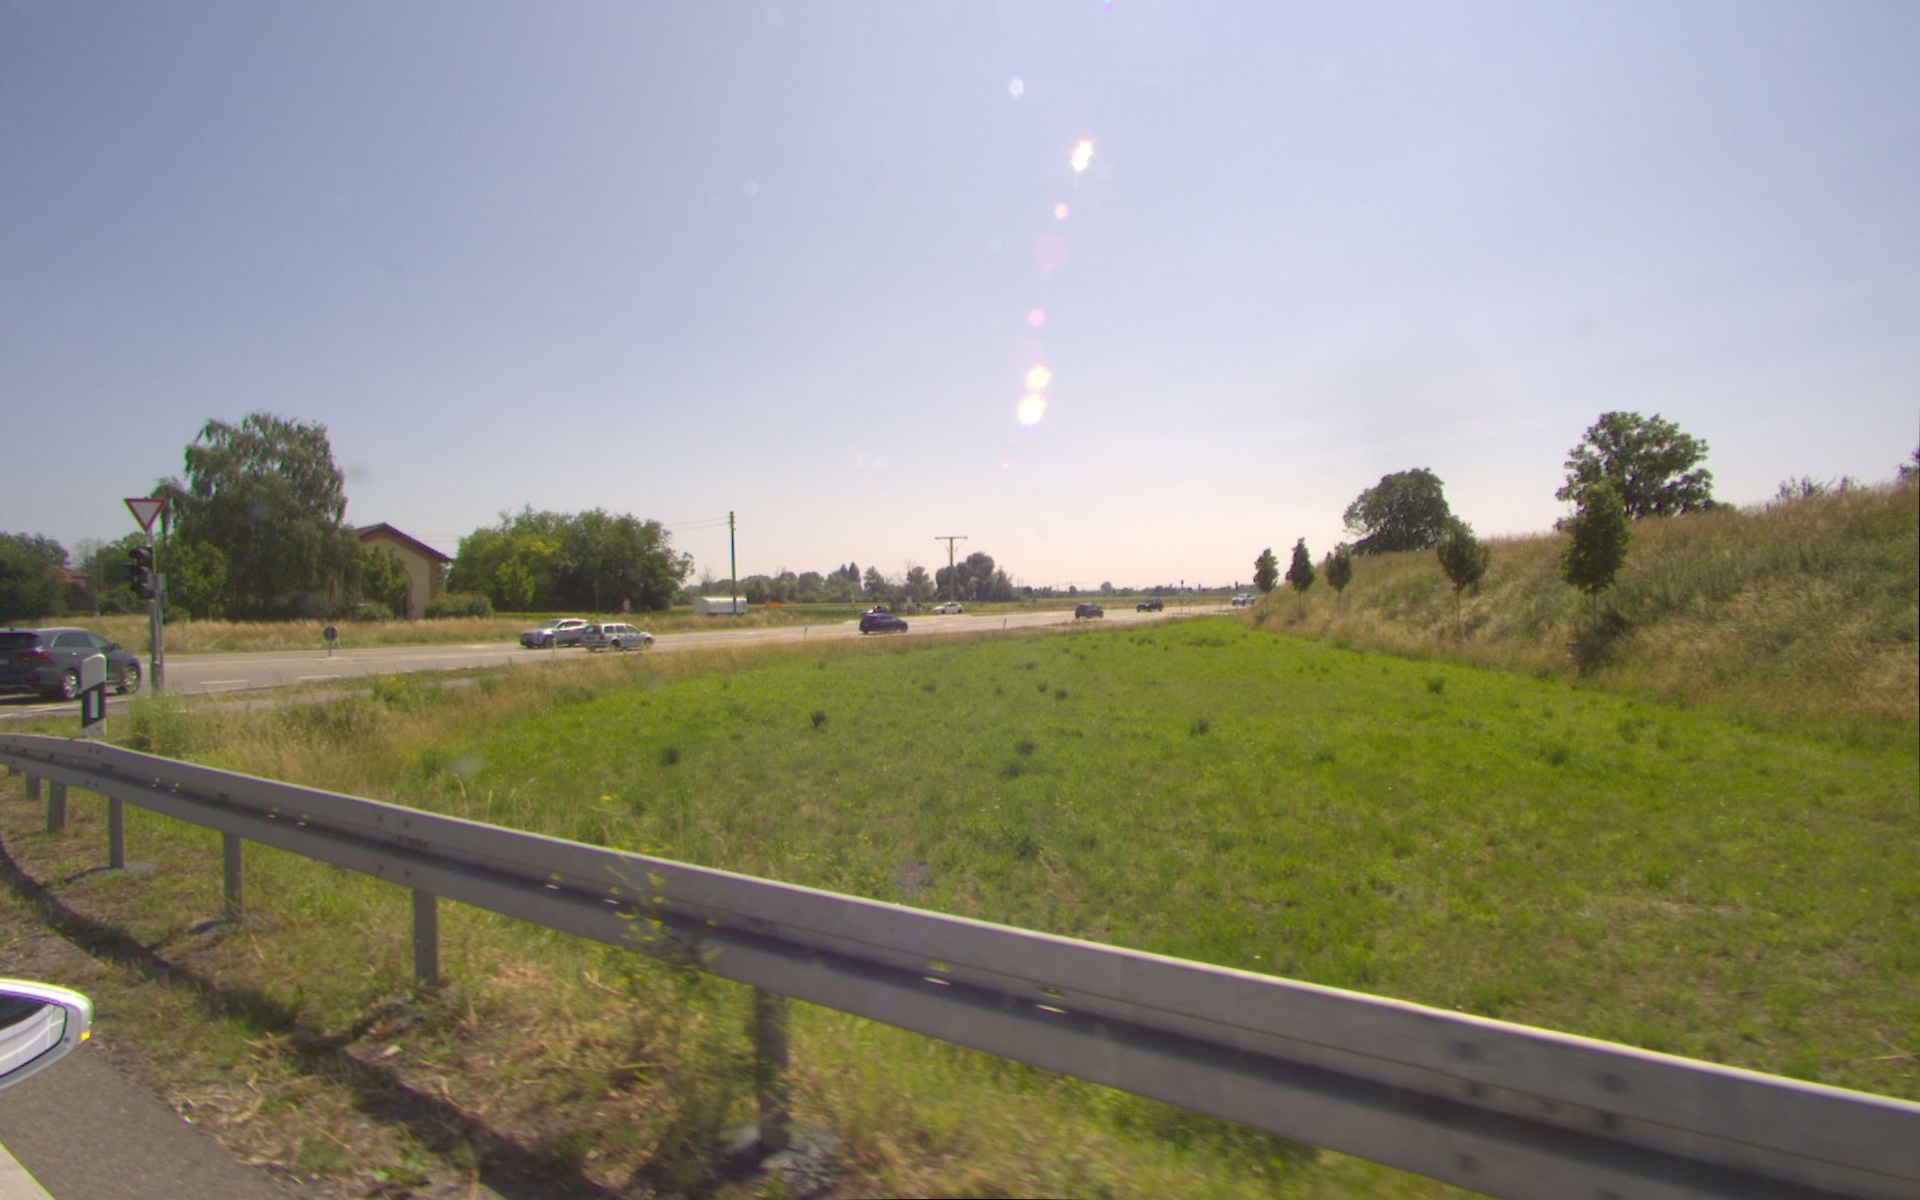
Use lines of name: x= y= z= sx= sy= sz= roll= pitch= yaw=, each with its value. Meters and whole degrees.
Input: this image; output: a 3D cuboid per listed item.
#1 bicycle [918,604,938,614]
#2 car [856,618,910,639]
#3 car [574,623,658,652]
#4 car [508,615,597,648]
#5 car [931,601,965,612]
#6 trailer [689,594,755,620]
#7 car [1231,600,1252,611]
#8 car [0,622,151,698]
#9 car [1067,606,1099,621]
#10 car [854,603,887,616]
bicycle: x=-4.487 y=1.254 z=140.191 sx=2.571 sy=1.389 sz=0.900 roll=-2 pitch=-2 yaw=20
car: x=-5.716 y=2.114 z=74.629 sx=1.780 sy=1.495 sz=4.392 roll=-1 pitch=-2 yaw=32
car: x=-17.863 y=1.912 z=52.169 sx=1.777 sy=1.447 sz=4.080 roll=-1 pitch=-2 yaw=26
car: x=-22.229 y=1.694 z=54.774 sx=1.840 sy=1.565 sz=4.537 roll=0 pitch=1 yaw=23
car: x=-1.501 y=0.867 z=126.646 sx=3.982 sy=1.350 sz=1.686 roll=0 pitch=1 yaw=-32
trailer: x=-24.210 y=0.711 z=102.067 sx=2.650 sy=2.489 sz=6.342 roll=1 pitch=1 yaw=35
car: x=41.434 y=0.805 z=147.520 sx=1.855 sy=1.673 sz=4.821 roll=1 pitch=1 yaw=29
car: x=-21.486 y=1.374 z=23.888 sx=1.907 sy=1.637 sz=4.371 roll=0 pitch=-1 yaw=-17
car: x=12.906 y=1.421 z=104.686 sx=1.781 sy=1.541 sz=3.861 roll=-1 pitch=-2 yaw=33
car: x=-10.379 y=1.080 z=116.324 sx=1.658 sy=1.406 sz=3.811 roll=1 pitch=1 yaw=38
